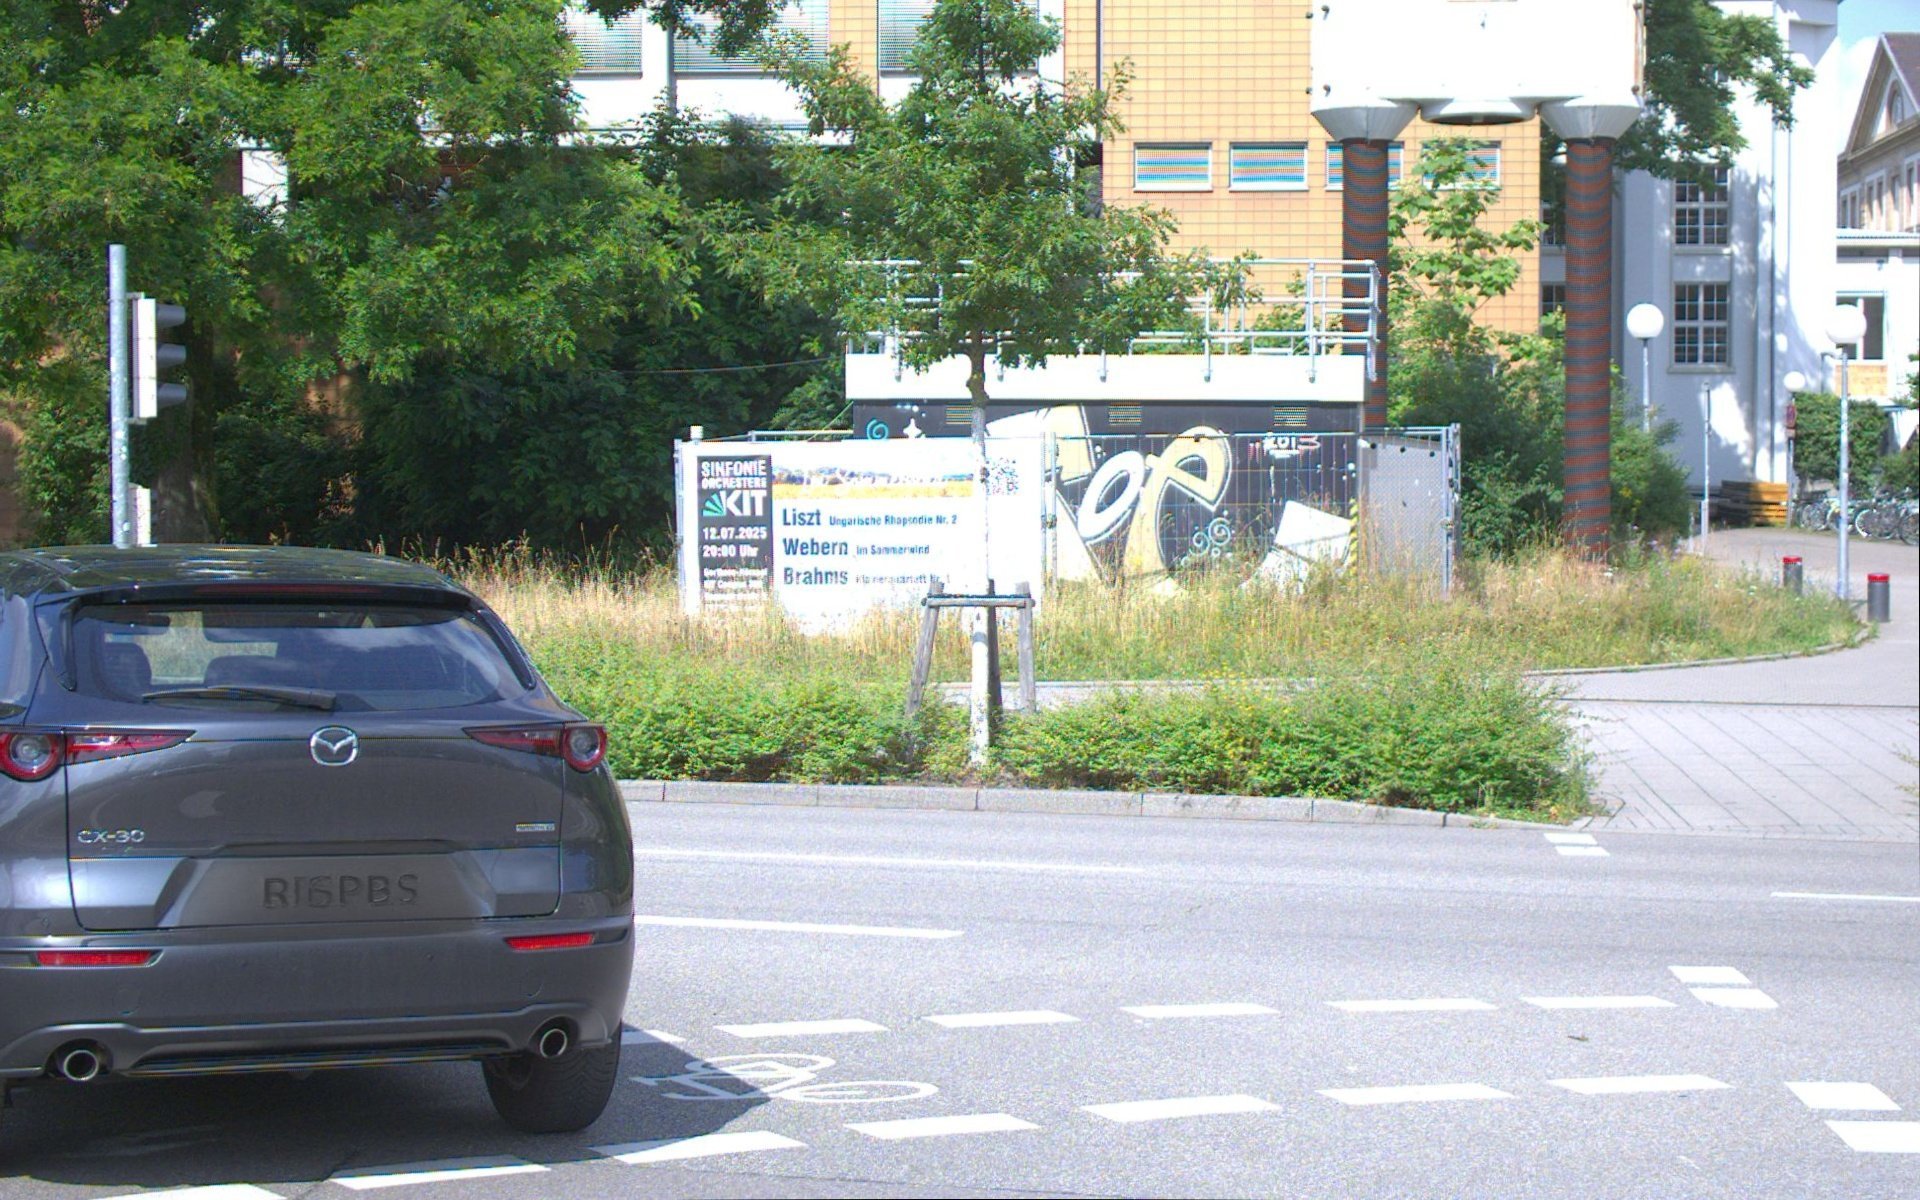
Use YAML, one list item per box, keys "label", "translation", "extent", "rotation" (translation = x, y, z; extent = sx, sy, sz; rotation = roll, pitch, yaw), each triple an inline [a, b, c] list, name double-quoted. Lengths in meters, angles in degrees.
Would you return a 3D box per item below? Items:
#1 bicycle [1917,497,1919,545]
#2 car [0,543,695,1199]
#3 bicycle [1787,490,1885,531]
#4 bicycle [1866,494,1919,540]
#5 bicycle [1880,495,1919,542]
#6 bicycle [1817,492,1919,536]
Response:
- label: "bicycle"
  translation: [19.397, -1.505, 65.636]
  extent: [2.055, 0.933, 0.804]
  rotation: [0, 2, 5]
- label: "car"
  translation: [-2.304, 0.597, 9.690]
  extent: [1.805, 1.503, 4.206]
  rotation: [-1, 1, -24]
- label: "bicycle"
  translation: [20.053, -2.048, 78.693]
  extent: [2.055, 0.933, 0.804]
  rotation: [0, 2, 5]
- label: "bicycle"
  translation: [19.602, -1.692, 70.106]
  extent: [2.055, 0.933, 0.804]
  rotation: [0, 2, 5]
- label: "bicycle"
  translation: [19.611, -1.647, 69.082]
  extent: [2.055, 0.933, 0.804]
  rotation: [0, 2, 5]
- label: "bicycle"
  translation: [19.533, -1.857, 73.865]
  extent: [2.055, 0.933, 0.804]
  rotation: [0, 2, 5]
